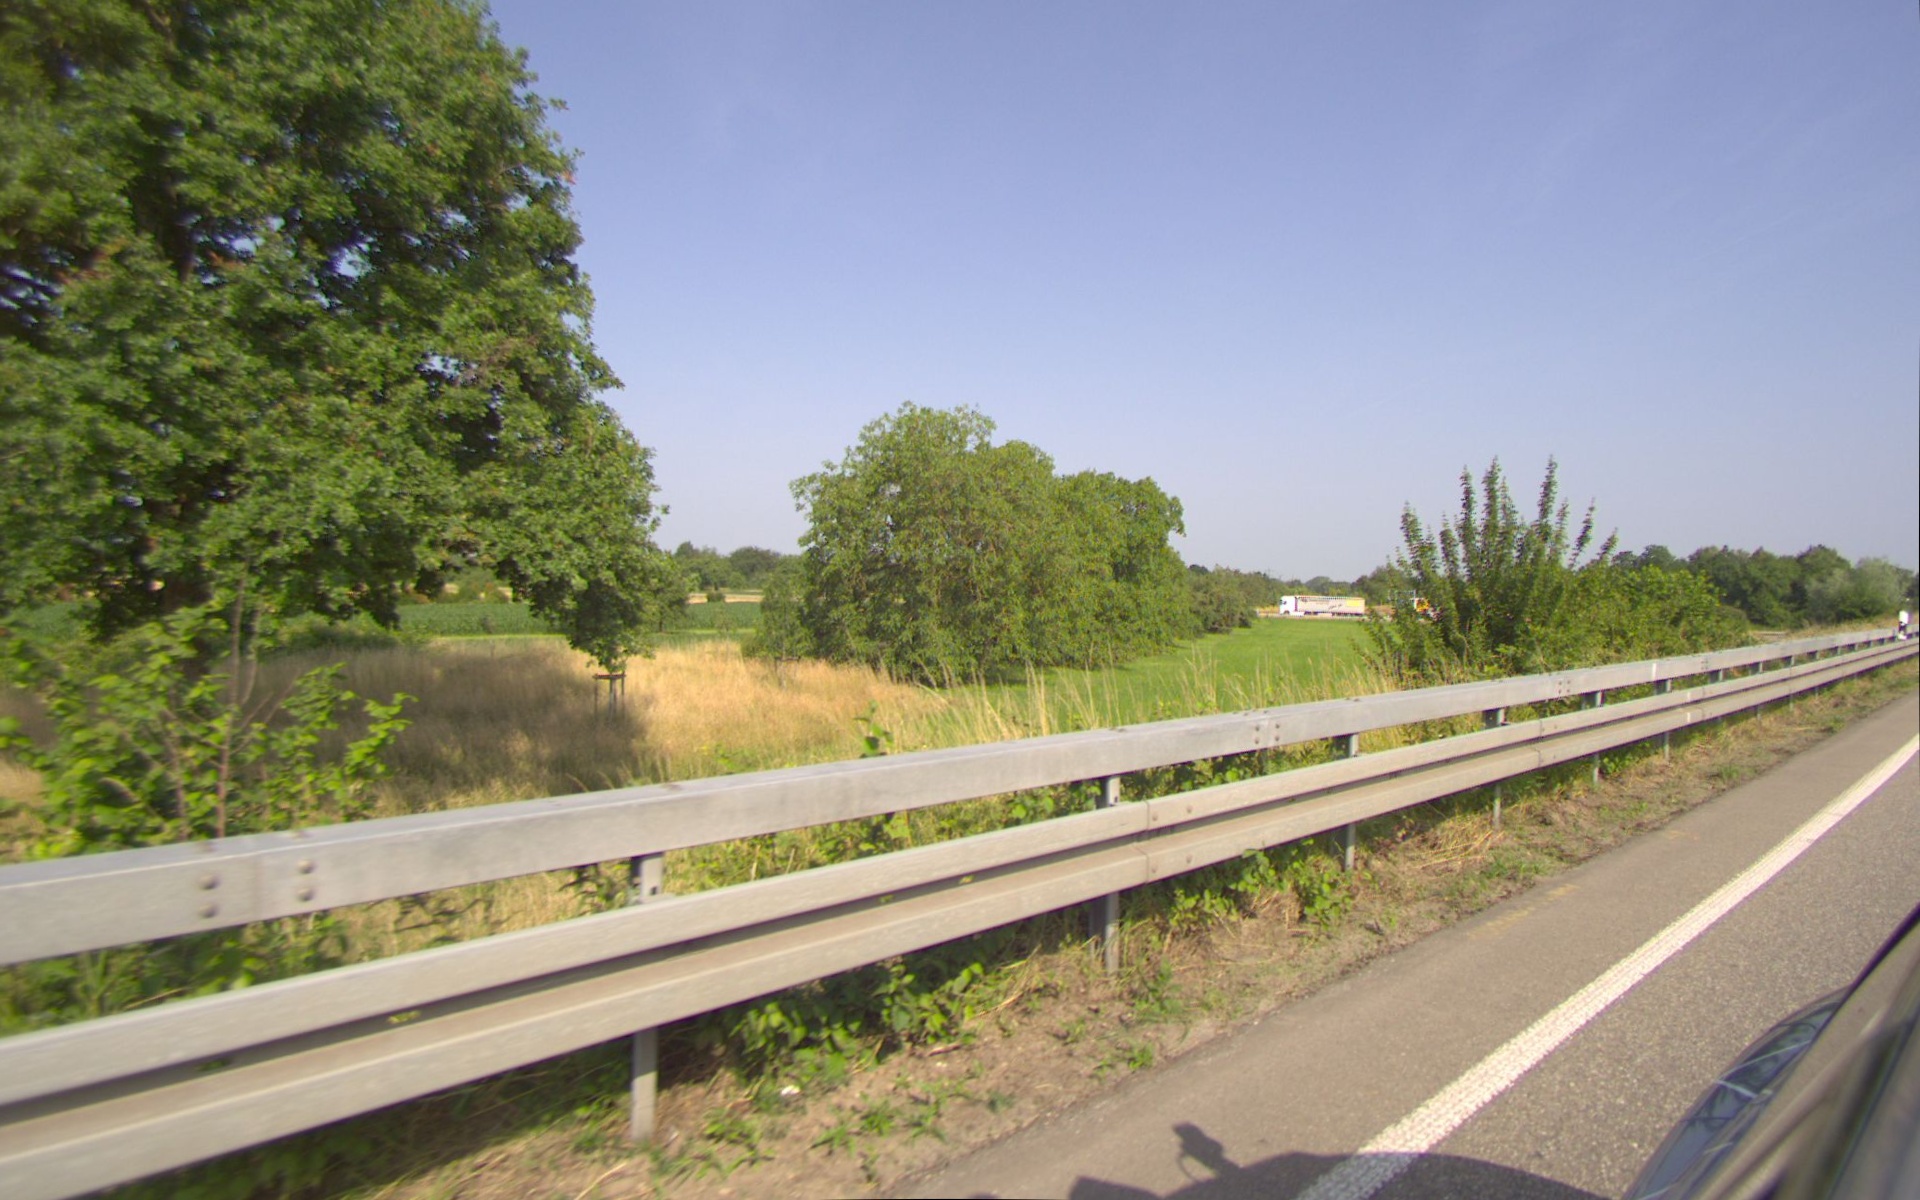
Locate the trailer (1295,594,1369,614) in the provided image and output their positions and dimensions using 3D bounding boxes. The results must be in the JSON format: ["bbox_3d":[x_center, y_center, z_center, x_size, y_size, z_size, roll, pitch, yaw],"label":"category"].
[{"bbox_3d":[74.779,0.709,203.904,13.722,3.699,2.099,1,0,14],"label":"trailer"}]

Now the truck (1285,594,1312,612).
[{"bbox_3d":[68.692,0.599,205.405,4.870,3.724,2.099,1,0,14],"label":"truck"}]
